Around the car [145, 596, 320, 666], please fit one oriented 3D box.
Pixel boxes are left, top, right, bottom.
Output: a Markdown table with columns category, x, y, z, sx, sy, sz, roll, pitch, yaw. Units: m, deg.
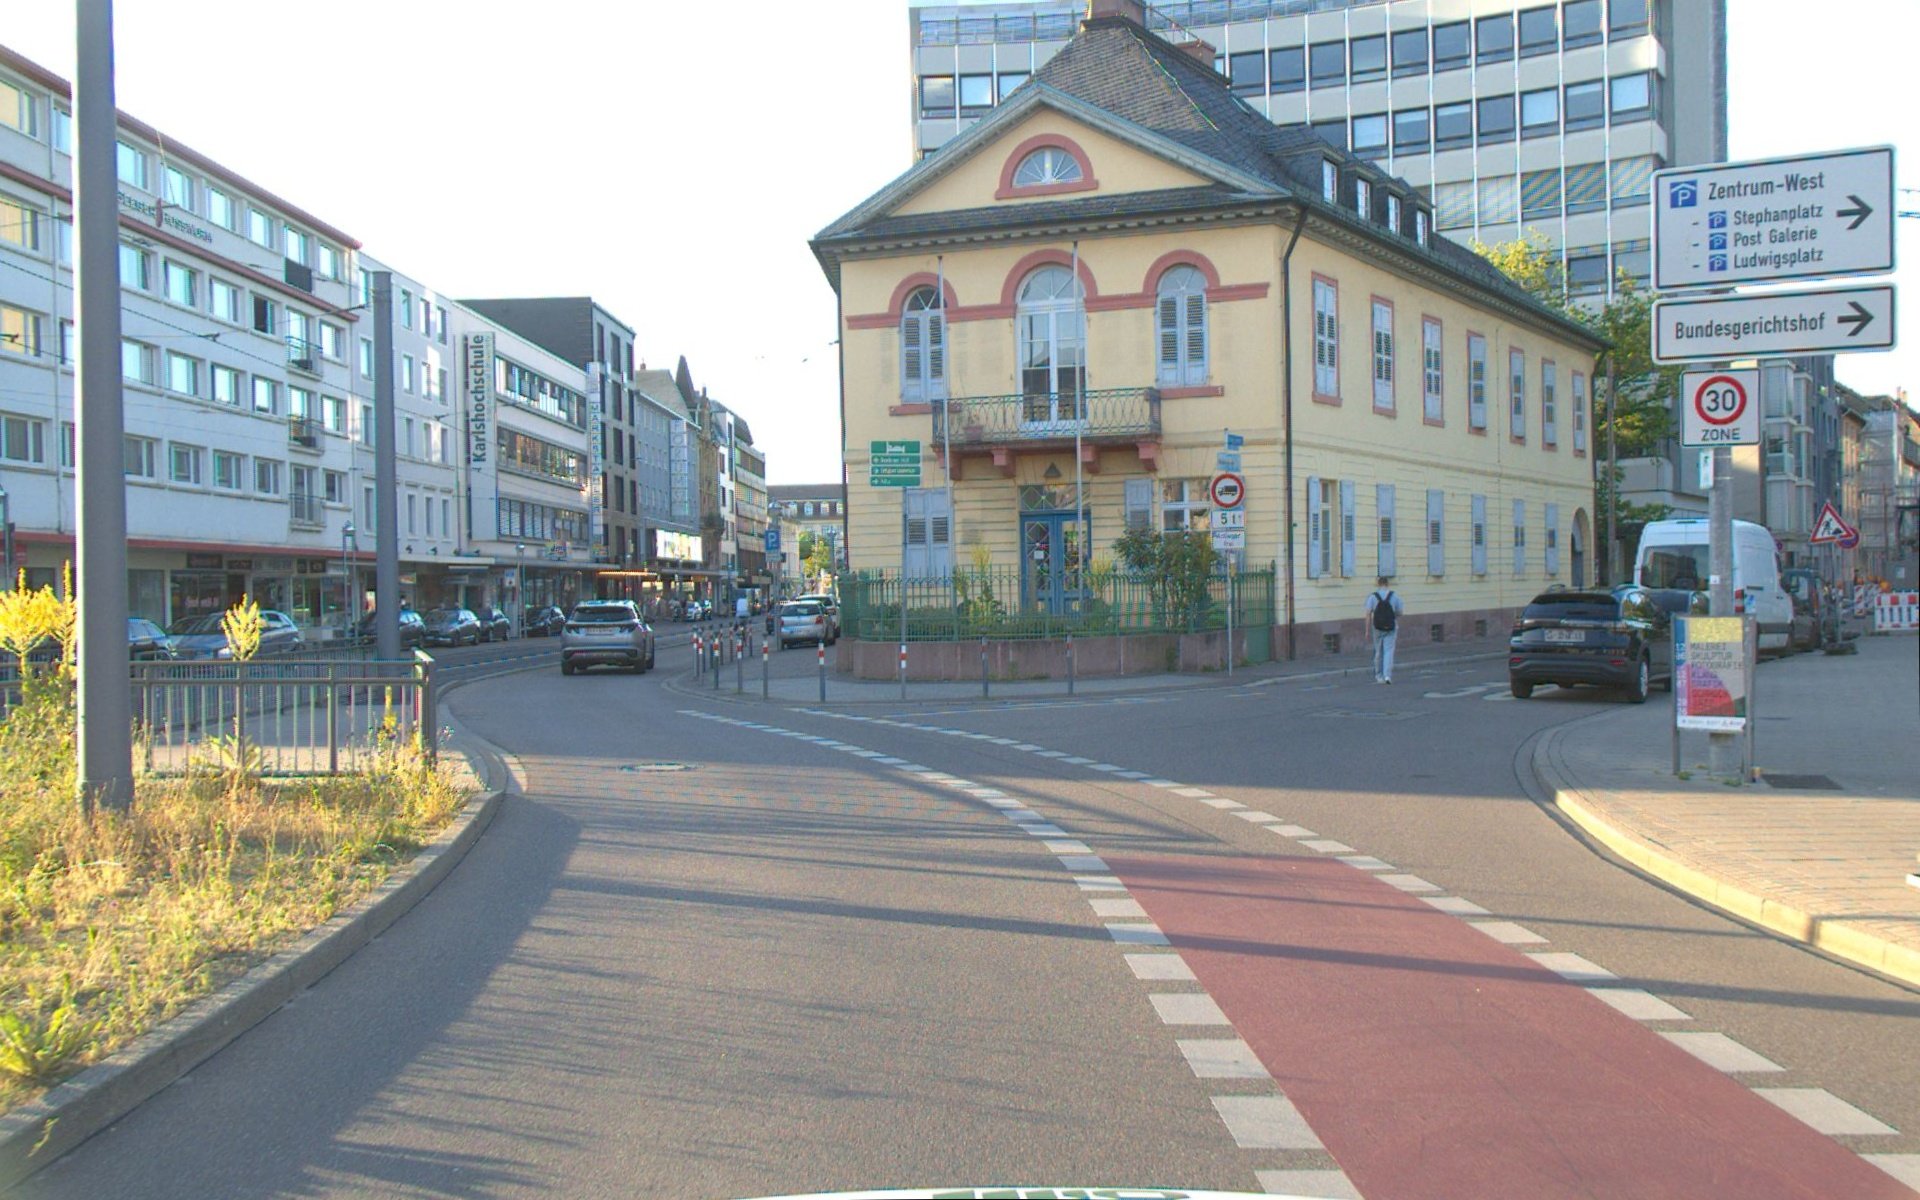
| category | x | y | z | sx | sy | sz | roll | pitch | yaw |
| --- | --- | --- | --- | --- | --- | --- | --- | --- | --- |
| car | -17.921 | 0.717 | 41.005 | 2.151 | 1.586 | 4.283 | -1 | 0 | 5 |

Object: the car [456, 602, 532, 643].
| category | x | y | z | sx | sy | sz | roll | pitch | yaw |
| --- | --- | --- | --- | --- | --- | --- | --- | --- | --- |
| car | -20.615 | 0.955 | 73.307 | 1.952 | 1.694 | 4.002 | -1 | 0 | 4 |

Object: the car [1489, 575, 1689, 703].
| category | x | y | z | sx | sy | sz | roll | pitch | yaw |
| --- | --- | --- | --- | --- | --- | --- | --- | --- | --- |
| car | 8.811 | 0.475 | 22.954 | 1.746 | 1.570 | 4.279 | -1 | 1 | 33 |

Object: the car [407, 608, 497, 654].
| category | x | y | z | sx | sy | sz | roll | pitch | yaw |
| --- | --- | --- | --- | --- | --- | --- | --- | --- | --- |
| car | -20.485 | 1.226 | 66.898 | 1.952 | 1.694 | 4.641 | -1 | 0 | 4 |

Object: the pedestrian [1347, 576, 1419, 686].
| category | x | y | z | sx | sy | sz | roll | pitch | yaw |
| --- | --- | --- | --- | --- | --- | --- | --- | --- | --- |
| pedestrian | 6.920 | 0.494 | 27.059 | 0.862 | 1.754 | 0.825 | 0 | 1 | 39 |

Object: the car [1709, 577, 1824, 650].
| category | x | y | z | sx | sy | sz | roll | pitch | yaw |
| --- | --- | --- | --- | --- | --- | --- | --- | --- | --- |
| car | 17.846 | 0.262 | 36.517 | 1.663 | 1.485 | 4.084 | -1 | 1 | 35 |

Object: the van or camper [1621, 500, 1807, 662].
| category | x | y | z | sx | sy | sz | roll | pitch | yaw |
| --- | --- | --- | --- | --- | --- | --- | --- | --- | --- |
| van or camper | 14.686 | -0.363 | 31.985 | 2.042 | 2.823 | 6.426 | -1 | 0 | 36 |

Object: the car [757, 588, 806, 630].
| category | x | y | z | sx | sy | sz | roll | pitch | yaw |
| --- | --- | --- | --- | --- | --- | --- | --- | --- | --- |
| car | -8.169 | 0.403 | 76.038 | 1.771 | 1.840 | 4.000 | -1 | 0 | 0 |

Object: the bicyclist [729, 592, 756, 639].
| category | x | y | z | sx | sy | sz | roll | pitch | yaw |
| --- | --- | --- | --- | --- | --- | --- | --- | --- | --- |
| bicyclist | -7.667 | 0.541 | 58.267 | 0.812 | 1.596 | 0.787 | -1 | 0 | -1 |

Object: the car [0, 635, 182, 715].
| category | x | y | z | sx | sy | sz | roll | pitch | yaw |
| --- | --- | --- | --- | --- | --- | --- | --- | --- | --- |
| car | -21.507 | 1.805 | 40.938 | 1.952 | 1.694 | 4.842 | -1 | 0 | 4 |

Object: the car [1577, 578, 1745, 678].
| category | x | y | z | sx | sy | sz | roll | pitch | yaw |
| --- | --- | --- | --- | --- | --- | --- | --- | --- | --- |
| car | 11.550 | 0.403 | 27.073 | 1.699 | 1.454 | 4.460 | -1 | 1 | 34 |

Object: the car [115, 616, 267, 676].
| category | x | y | z | sx | sy | sz | roll | pitch | yaw |
| --- | --- | --- | --- | --- | --- | --- | --- | --- | --- |
| car | -21.438 | 1.237 | 46.307 | 1.952 | 1.490 | 4.404 | -1 | 0 | 4 |

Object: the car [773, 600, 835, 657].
| category | x | y | z | sx | sy | sz | roll | pitch | yaw |
| --- | --- | --- | --- | --- | --- | --- | --- | --- | --- |
| car | -5.000 | 0.883 | 53.292 | 1.697 | 1.738 | 3.438 | -1 | 0 | -1 |

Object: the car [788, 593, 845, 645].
| category | x | y | z | sx | sy | sz | roll | pitch | yaw |
| --- | --- | --- | --- | --- | --- | --- | --- | --- | --- |
| car | -5.060 | 0.634 | 58.718 | 1.697 | 1.738 | 3.805 | -1 | 0 | -1 |

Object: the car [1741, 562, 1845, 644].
| category | x | y | z | sx | sy | sz | roll | pitch | yaw |
| --- | --- | --- | --- | --- | --- | --- | --- | --- | --- |
| car | 20.240 | 0.029 | 40.133 | 1.683 | 1.881 | 4.008 | -1 | 1 | 35 |

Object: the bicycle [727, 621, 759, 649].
| category | x | y | z | sx | sy | sz | roll | pitch | yaw |
| --- | --- | --- | --- | --- | --- | --- | --- | --- | --- |
| bicycle | -7.631 | 1.226 | 58.233 | 0.812 | 0.885 | 2.549 | -1 | 0 | -1 |

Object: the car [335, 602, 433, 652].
| category | x | y | z | sx | sy | sz | roll | pitch | yaw |
| --- | --- | --- | --- | --- | --- | --- | --- | --- | --- |
| car | -21.054 | 0.948 | 60.667 | 1.952 | 1.694 | 4.002 | -1 | 0 | 4 |

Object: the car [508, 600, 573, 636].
| category | x | y | z | sx | sy | sz | roll | pitch | yaw |
| --- | --- | --- | --- | --- | --- | --- | --- | --- | --- |
| car | -20.805 | 0.878 | 82.127 | 1.952 | 1.694 | 4.002 | -1 | 0 | 4 |

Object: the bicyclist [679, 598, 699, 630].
| category | x | y | z | sx | sy | sz | roll | pitch | yaw |
| --- | --- | --- | --- | --- | --- | --- | --- | --- | --- |
| bicyclist | -18.031 | 0.918 | 110.101 | 1.143 | 2.049 | 1.045 | -1 | 0 | -2 |

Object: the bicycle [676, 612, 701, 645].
| category | x | y | z | sx | sy | sz | roll | pitch | yaw |
| --- | --- | --- | --- | --- | --- | --- | --- | --- | --- |
| bicycle | -17.996 | 1.865 | 109.762 | 1.156 | 2.049 | 3.340 | -1 | 0 | -2 |

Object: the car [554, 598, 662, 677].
| category | x | y | z | sx | sy | sz | roll | pitch | yaw |
| --- | --- | --- | --- | --- | --- | --- | --- | --- | --- |
| car | -8.125 | 0.817 | 38.548 | 1.905 | 1.690 | 4.531 | -1 | 0 | -5 |
